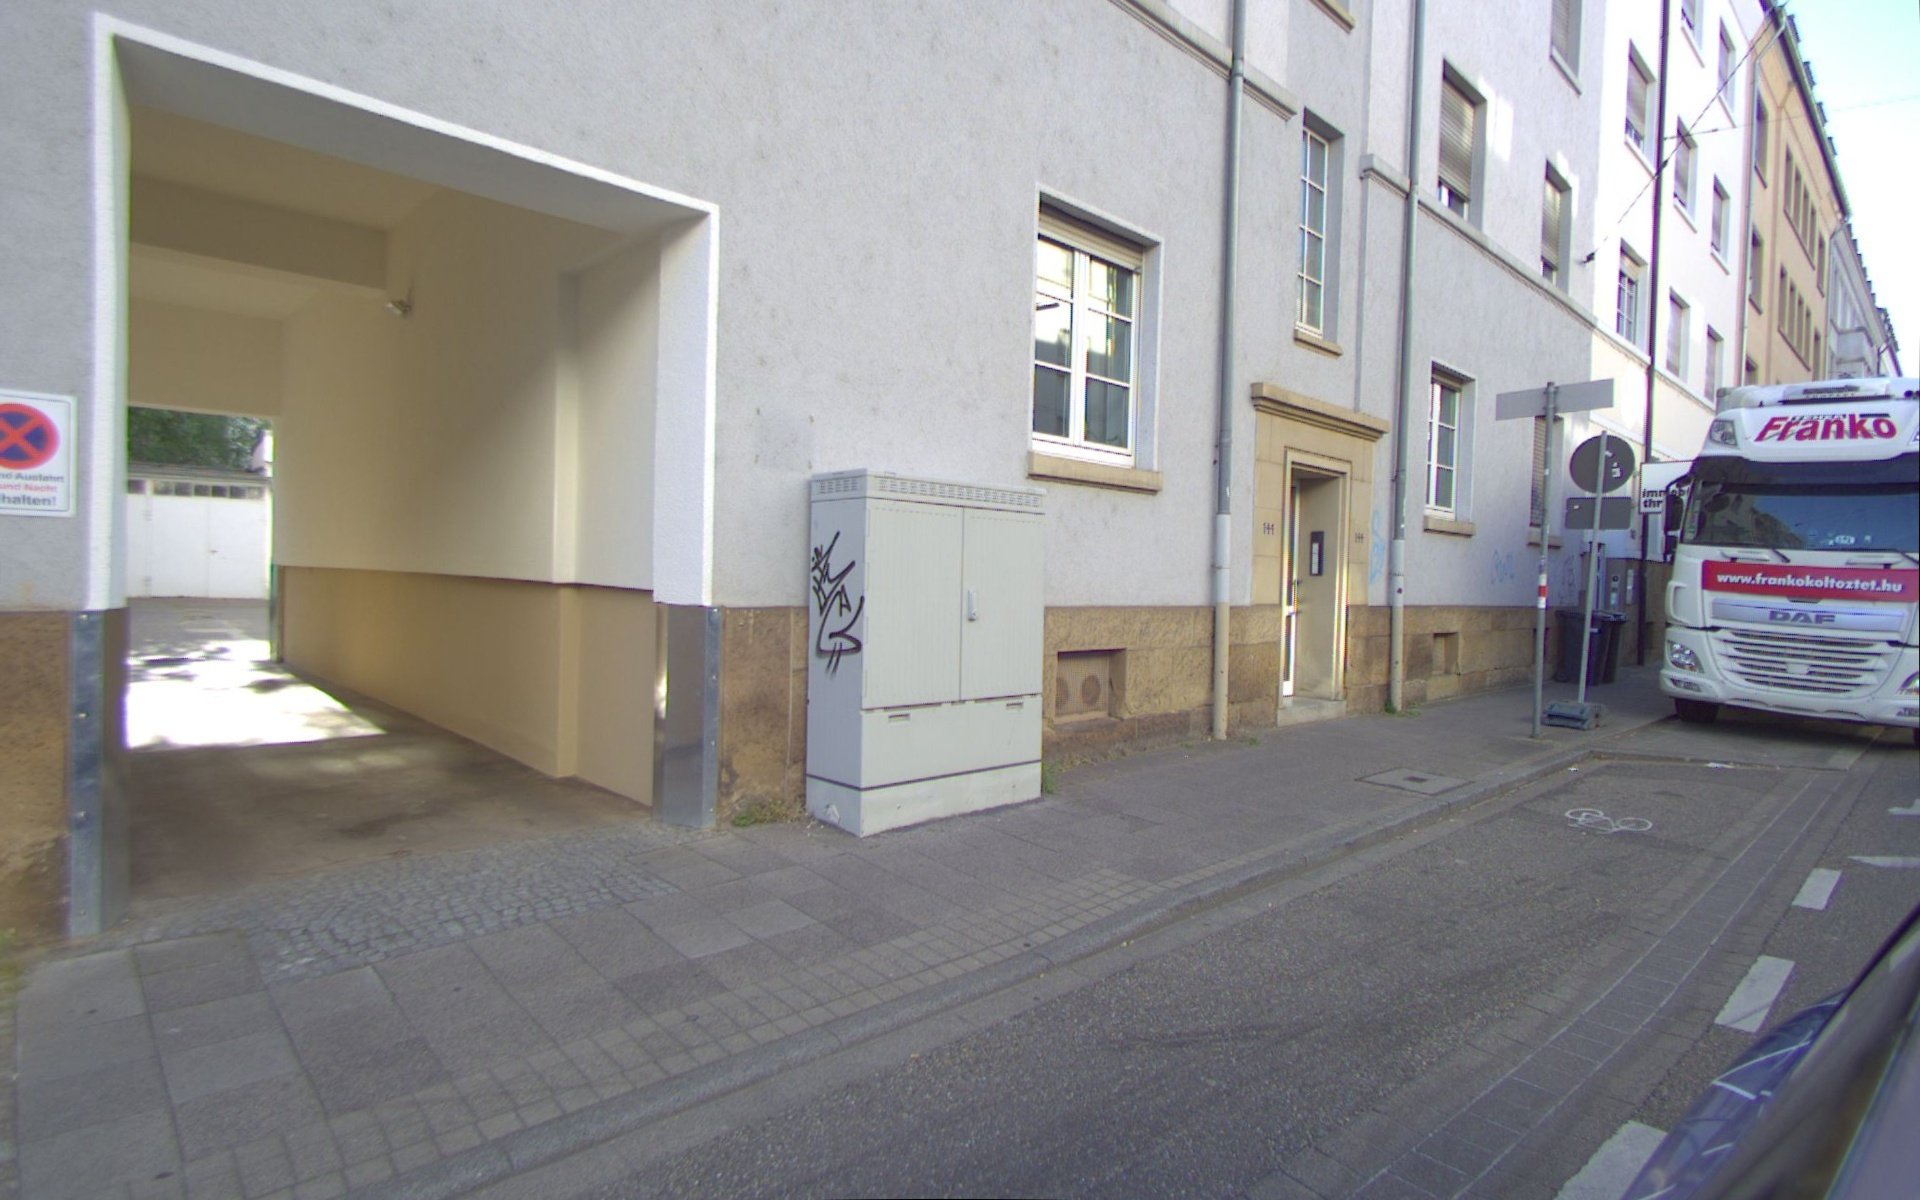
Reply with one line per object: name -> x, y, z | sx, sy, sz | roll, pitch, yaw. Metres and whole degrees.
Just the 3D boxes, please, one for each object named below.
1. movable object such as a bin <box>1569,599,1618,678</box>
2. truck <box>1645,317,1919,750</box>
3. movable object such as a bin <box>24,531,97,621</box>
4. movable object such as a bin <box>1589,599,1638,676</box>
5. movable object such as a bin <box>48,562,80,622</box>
movable object such as a bin -> 9.128, 0.537, 14.582 | 0.511, 1.106, 0.488 | 0, 0, 45
truck -> 12.572, -0.609, 13.892 | 11.511, 4.012, 2.894 | 0, 0, -44
movable object such as a bin -> -14.739, -0.408, 16.584 | 0.874, 1.409, 0.758 | 0, 4, -44
movable object such as a bin -> 9.634, 0.534, 14.919 | 0.511, 1.106, 0.488 | 0, 0, 45
movable object such as a bin -> -14.286, -0.128, 16.137 | 0.366, 0.919, 0.420 | 0, 3, -44
